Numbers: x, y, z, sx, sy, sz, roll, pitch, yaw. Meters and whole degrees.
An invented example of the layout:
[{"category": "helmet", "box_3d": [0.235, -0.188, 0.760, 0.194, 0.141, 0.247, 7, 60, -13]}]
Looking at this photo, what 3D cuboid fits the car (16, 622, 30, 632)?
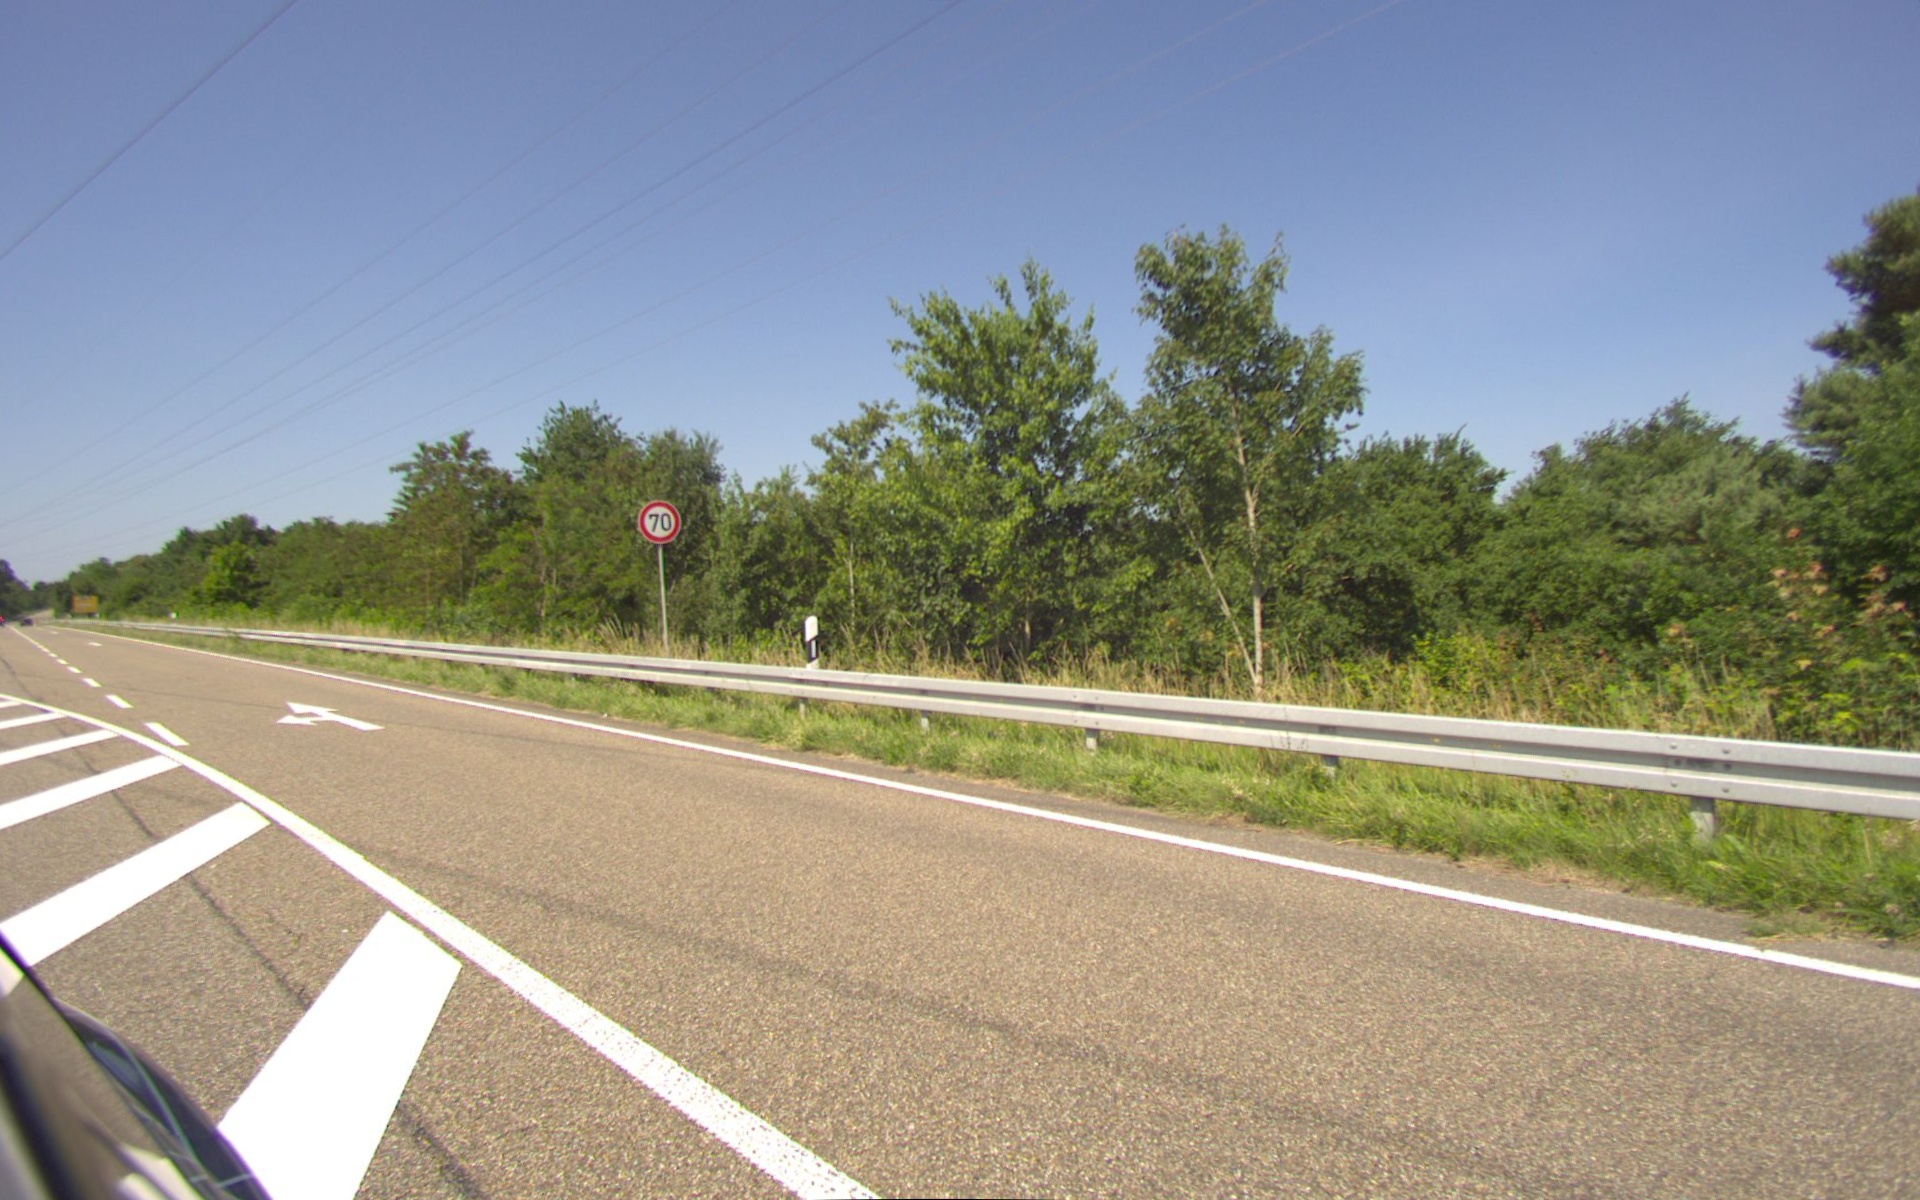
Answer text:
[{"category": "car", "box_3d": [-166.846, 4.795, 180.223, 1.807, 1.595, 4.004, 2, -2, -43]}]
